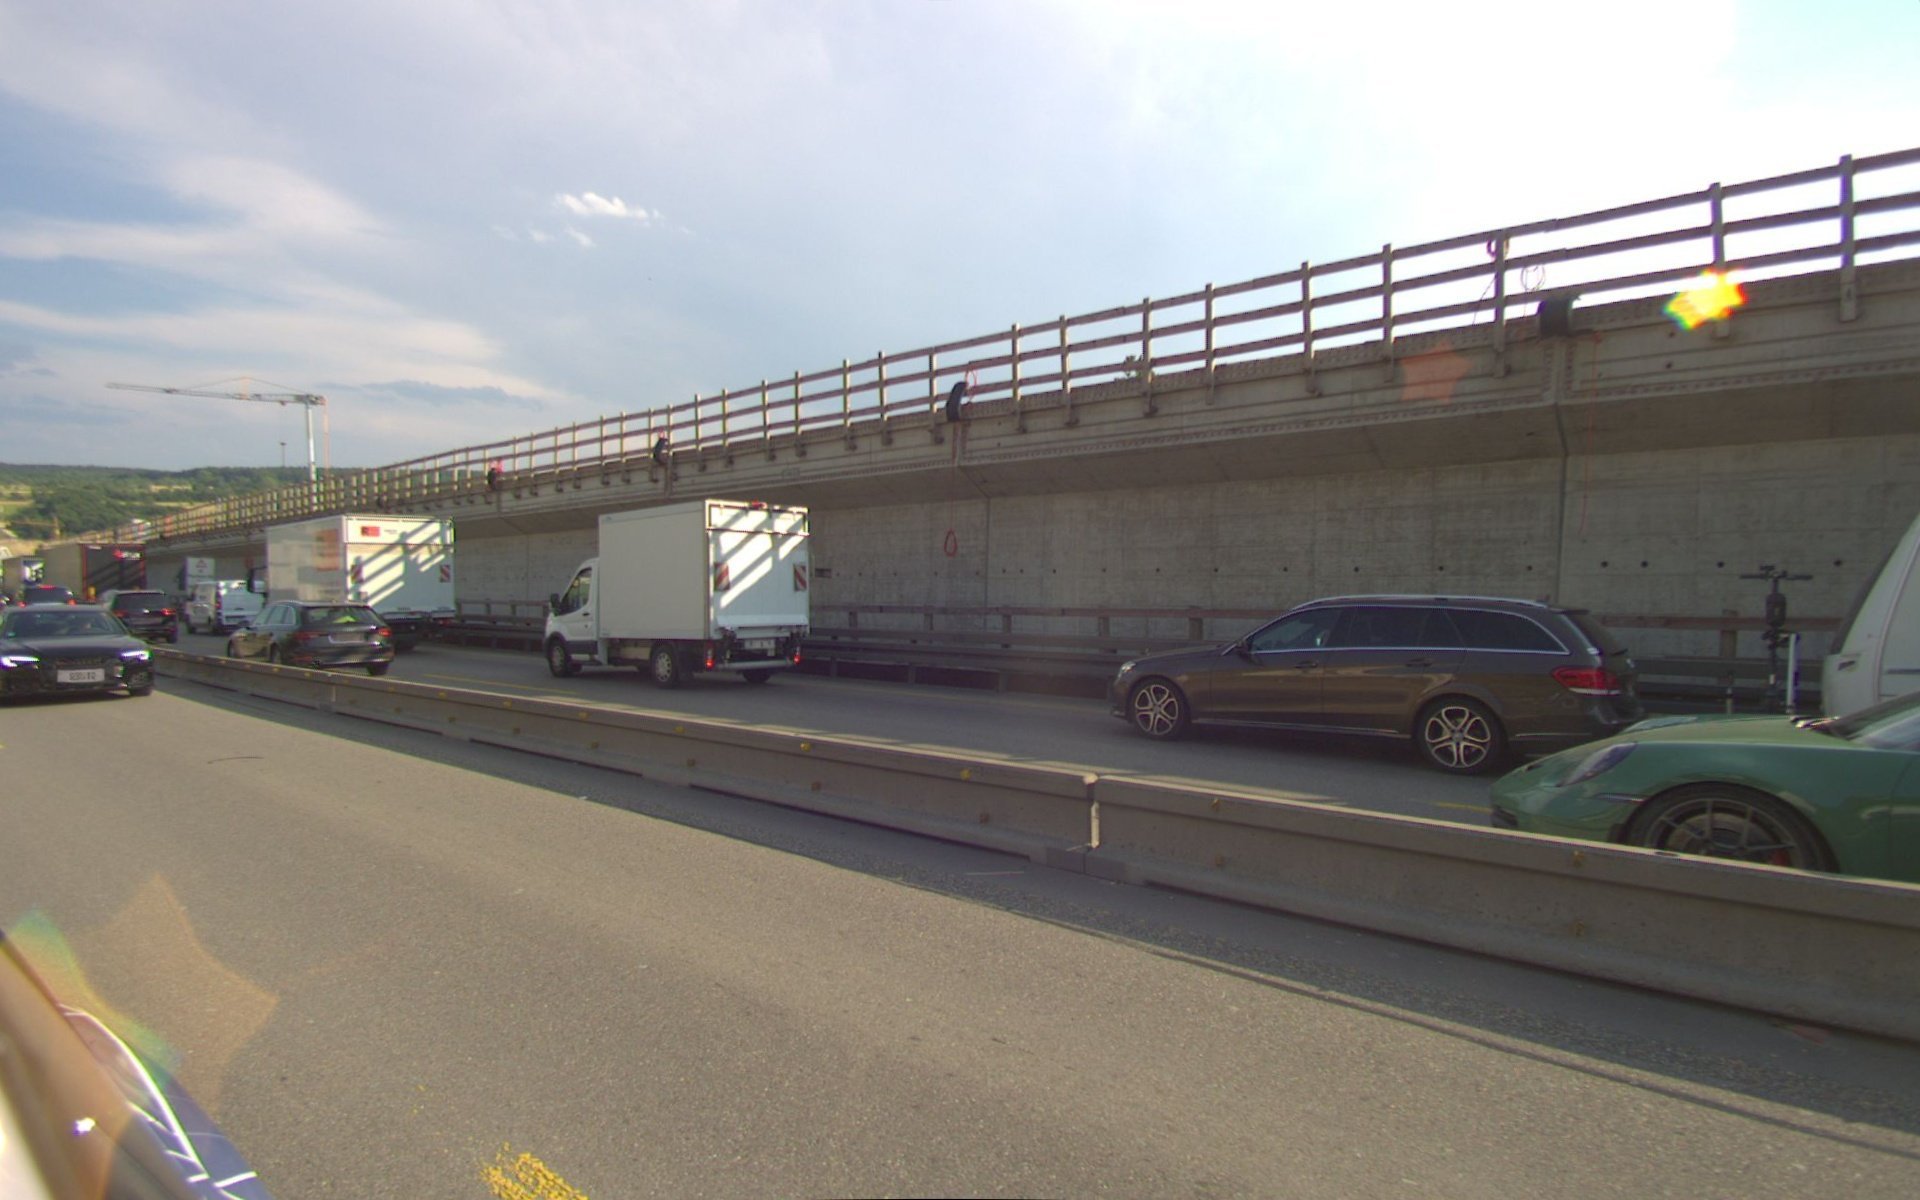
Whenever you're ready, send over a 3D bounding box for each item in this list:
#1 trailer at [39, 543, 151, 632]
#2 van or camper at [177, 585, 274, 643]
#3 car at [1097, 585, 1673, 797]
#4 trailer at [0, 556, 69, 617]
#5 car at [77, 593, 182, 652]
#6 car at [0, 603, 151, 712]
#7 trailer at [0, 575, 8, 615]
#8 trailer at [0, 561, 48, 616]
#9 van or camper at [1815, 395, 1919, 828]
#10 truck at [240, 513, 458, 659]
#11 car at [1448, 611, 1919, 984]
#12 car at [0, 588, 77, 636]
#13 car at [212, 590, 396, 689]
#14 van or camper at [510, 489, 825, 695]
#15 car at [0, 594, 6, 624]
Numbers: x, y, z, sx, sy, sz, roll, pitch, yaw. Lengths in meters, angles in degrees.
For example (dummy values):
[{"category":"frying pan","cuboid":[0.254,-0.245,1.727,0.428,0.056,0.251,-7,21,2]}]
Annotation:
[{"category":"trailer","cuboid":[-46.894,-0.736,54.629,13.768,4.271,2.882,1,2,43]},{"category":"van or camper","cuboid":[-26.947,0.466,37.056,4.922,1.937,1.897,0,2,43]},{"category":"car","cuboid":[3.746,0.668,9.585,4.782,1.542,1.623,0,0,42]},{"category":"trailer","cuboid":[-68.697,-0.907,74.680,14.021,4.172,2.735,-1,1,42]},{"category":"car","cuboid":[-26.192,0.643,31.863,4.688,1.657,1.813,1,3,42]},{"category":"car","cuboid":[-14.537,0.812,16.173,4.348,1.430,1.848,1,2,42]},{"category":"trailer","cuboid":[-89.522,-0.508,92.669,10.681,3.552,2.529,1,3,43]},{"category":"trailer","cuboid":[-73.683,-0.887,79.160,5.974,4.172,2.735,-1,1,42]},{"category":"van or camper","cuboid":[8.735,0.076,5.301,6.453,2.683,2.287,0,-1,42]},{"category":"truck","cuboid":[-16.852,-0.347,27.628,8.138,3.450,2.686,1,-1,41]},{"category":"car","cuboid":[4.458,0.730,4.027,4.237,1.335,1.762,0,0,41]},{"category":"car","cuboid":[-40.944,0.482,44.874,5.289,1.936,1.964,0,2,42]},{"category":"car","cuboid":[-12.545,0.649,19.238,4.556,1.607,1.723,1,2,41]},{"category":"van or camper","cuboid":[-5.317,-0.154,17.757,6.220,3.011,2.296,1,0,41]},{"category":"car","cuboid":[-61.371,0.581,63.530,5.141,1.785,1.802,1,3,43]}]
